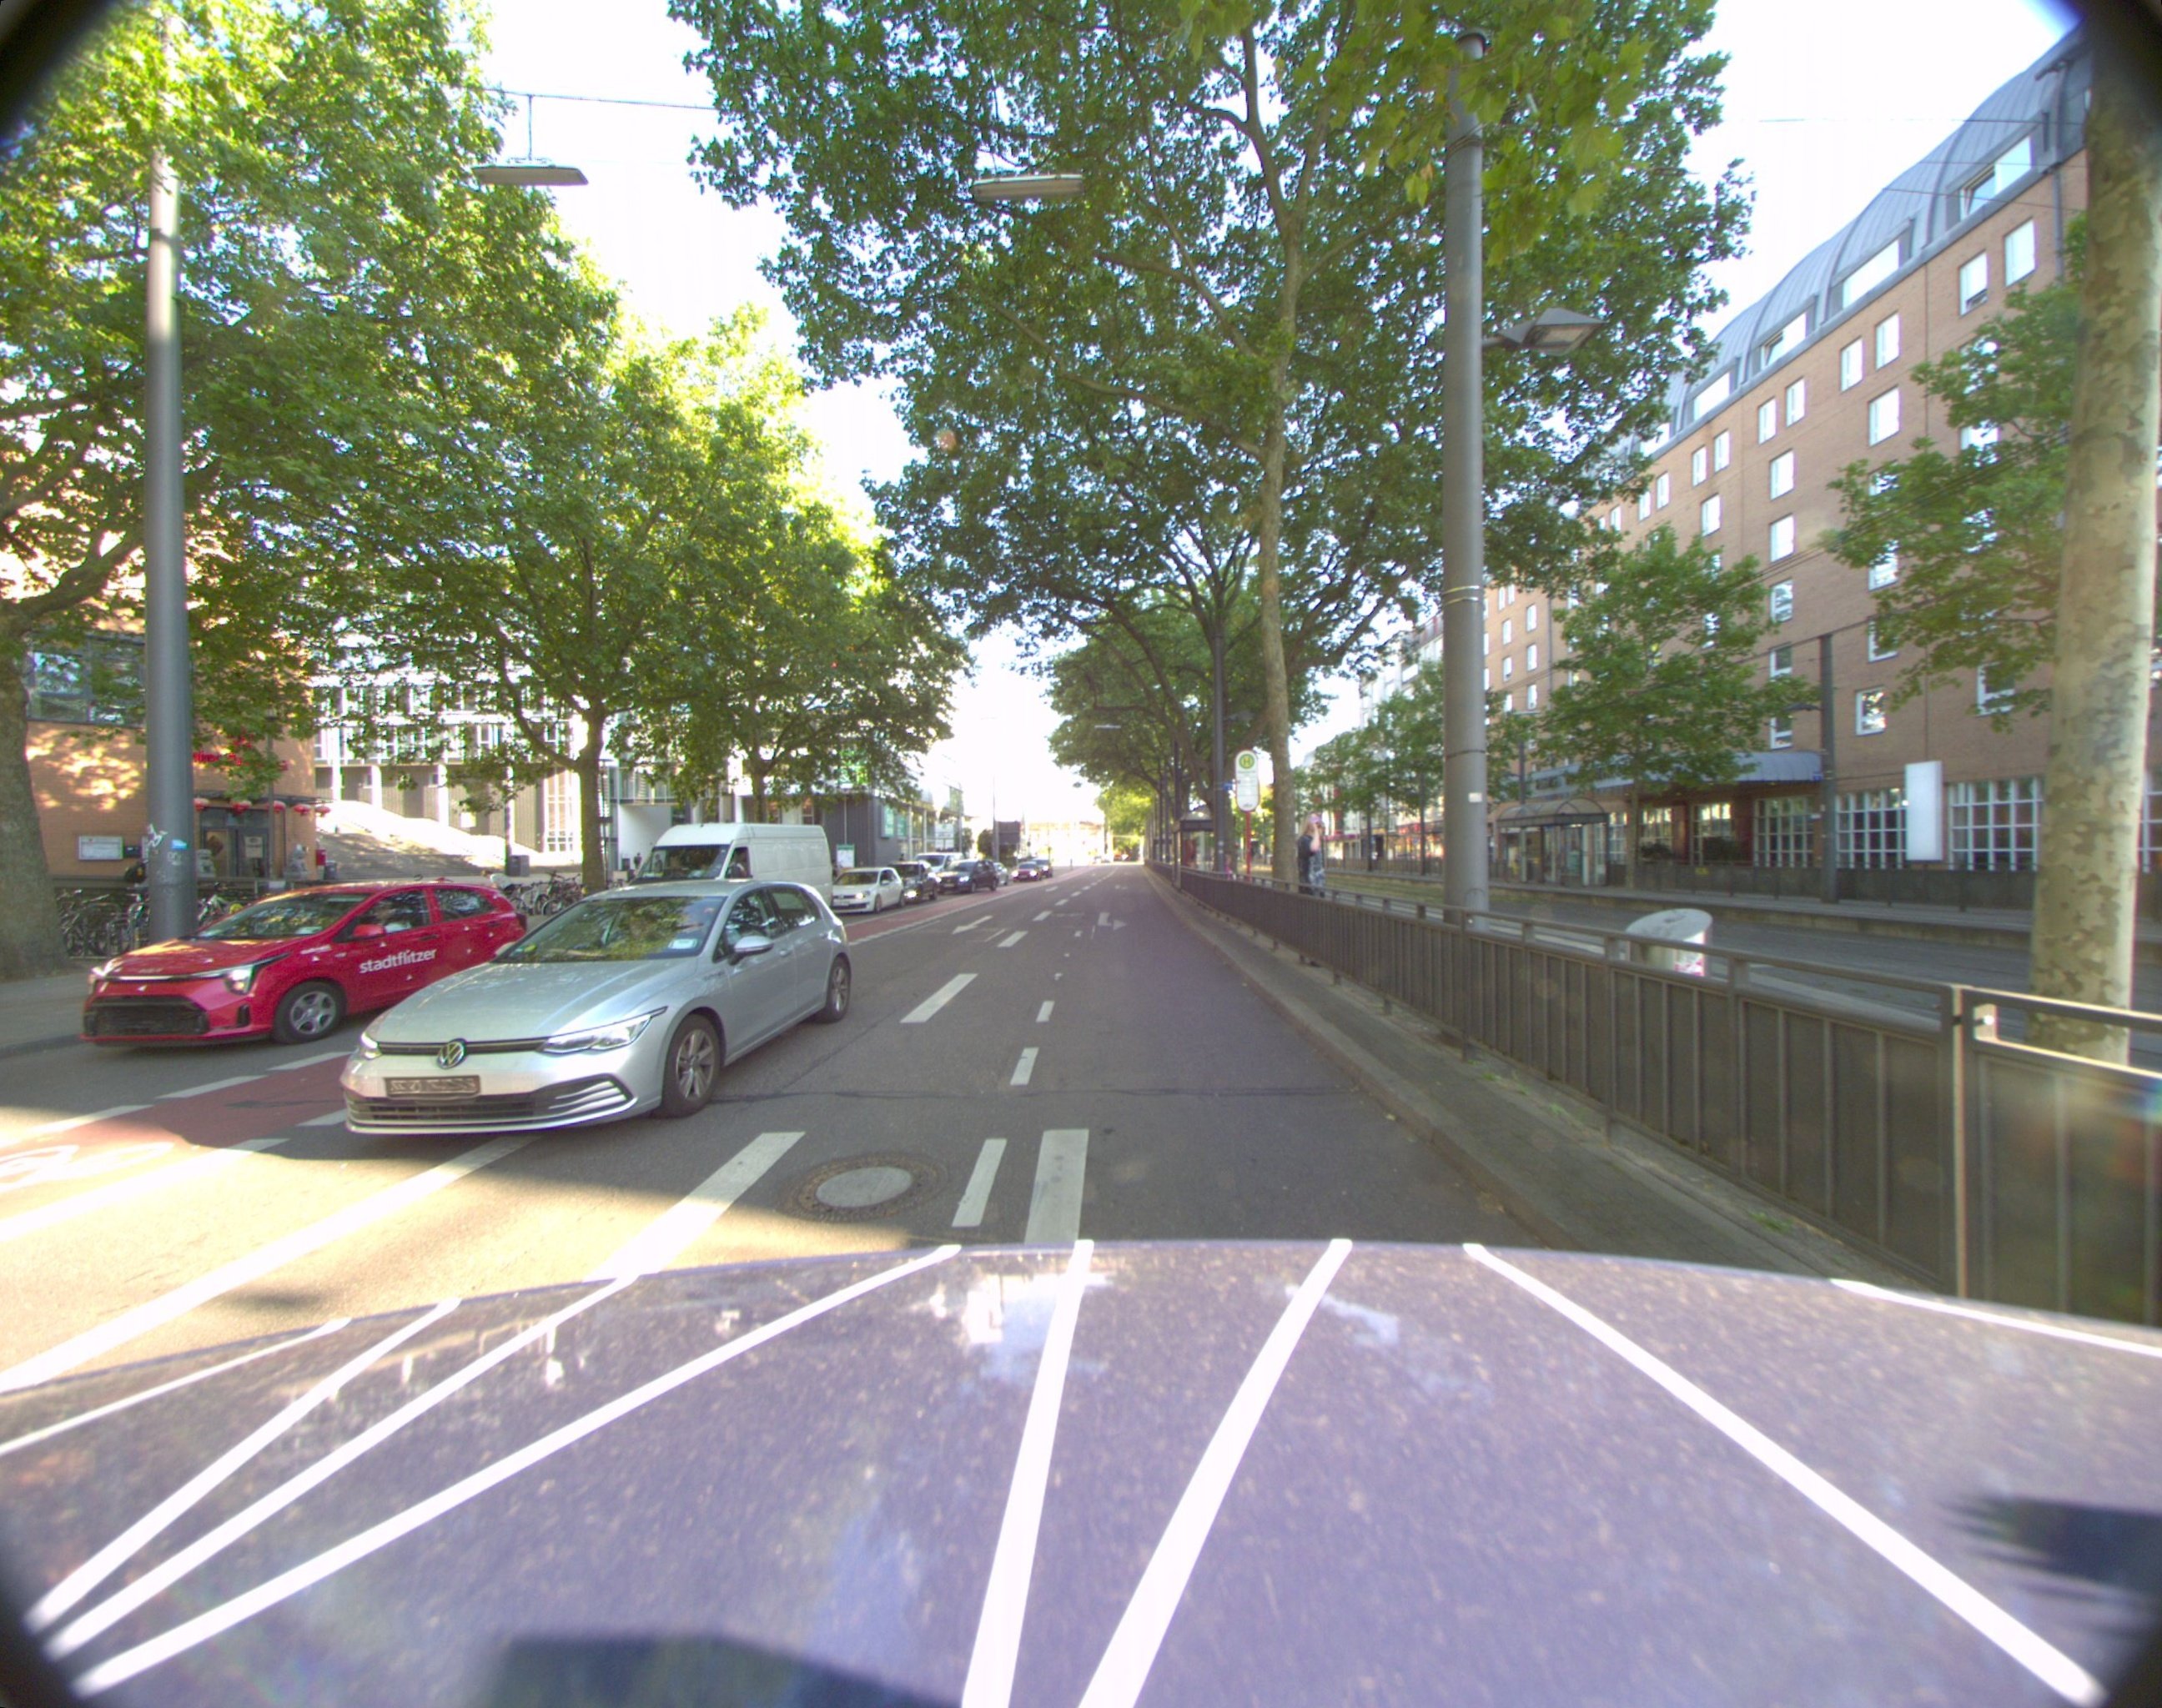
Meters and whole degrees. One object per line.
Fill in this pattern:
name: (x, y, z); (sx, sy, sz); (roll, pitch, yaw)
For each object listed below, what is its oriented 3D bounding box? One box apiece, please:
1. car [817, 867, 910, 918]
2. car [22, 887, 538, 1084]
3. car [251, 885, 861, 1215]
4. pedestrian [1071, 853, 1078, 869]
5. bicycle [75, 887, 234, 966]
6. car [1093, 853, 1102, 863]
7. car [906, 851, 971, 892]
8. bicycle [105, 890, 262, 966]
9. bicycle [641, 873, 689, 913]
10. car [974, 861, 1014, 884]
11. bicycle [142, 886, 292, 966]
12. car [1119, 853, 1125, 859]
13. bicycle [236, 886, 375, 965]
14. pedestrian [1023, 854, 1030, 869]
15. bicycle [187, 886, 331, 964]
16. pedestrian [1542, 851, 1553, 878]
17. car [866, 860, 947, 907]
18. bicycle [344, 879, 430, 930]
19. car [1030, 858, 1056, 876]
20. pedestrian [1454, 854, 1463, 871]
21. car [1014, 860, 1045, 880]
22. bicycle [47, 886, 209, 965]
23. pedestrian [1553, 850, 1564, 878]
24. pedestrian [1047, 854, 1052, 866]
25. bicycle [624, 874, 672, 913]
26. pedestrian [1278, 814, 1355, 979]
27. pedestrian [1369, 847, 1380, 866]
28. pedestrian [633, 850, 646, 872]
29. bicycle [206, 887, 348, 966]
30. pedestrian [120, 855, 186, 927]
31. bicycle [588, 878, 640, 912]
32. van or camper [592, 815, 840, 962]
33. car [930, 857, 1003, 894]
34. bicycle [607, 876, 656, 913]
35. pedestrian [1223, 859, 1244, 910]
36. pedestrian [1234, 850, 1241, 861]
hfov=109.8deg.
car: (-7.008, 1.196, 24.917); (1.682, 1.420, 4.001); (-1, 0, 3)
car: (-7.961, 1.171, 8.137); (1.606, 1.449, 3.651); (-1, 0, 0)
car: (-3.228, 1.077, 5.822); (1.733, 1.432, 4.000); (-2, 0, 2)
pedestrian: (-0.883, 0.914, 97.896); (0.773, 2.002, 0.830); (-2, 1, 1)
bicycle: (-15.927, 1.201, 13.143); (0.458, 1.187, 1.850); (0, 0, 1)
car: (3.555, 0.851, 163.578); (1.998, 2.002, 4.000); (-1, 0, 2)
car: (-7.492, 0.860, 40.405); (1.965, 1.983, 4.960); (-1, 0, 7)
bicycle: (-15.428, 1.234, 13.141); (0.485, 1.118, 1.850); (0, 0, 1)
bicycle: (-13.575, 1.254, 24.848); (0.522, 1.187, 1.850); (0, 0, 1)
car: (-5.494, 1.163, 48.387); (1.801, 1.369, 4.001); (0, 0, 3)
bicycle: (-14.845, 1.197, 13.132); (0.447, 1.187, 1.850); (0, 0, 1)
car: (13.490, 0.693, 247.919); (1.998, 2.002, 4.001); (-1, 0, 4)
bicycle: (-13.321, 1.192, 13.136); (0.482, 1.187, 1.850); (0, 0, 1)
pedestrian: (-5.821, 0.779, 81.615); (0.648, 1.644, 0.643); (-1, 1, 1)
bicycle: (-14.329, 1.198, 13.332); (0.484, 1.187, 1.850); (0, 0, 1)
pedestrian: (26.042, 0.580, 42.446); (0.438, 1.497, 0.659); (0, 1, 23)
car: (-6.682, 1.081, 29.643); (1.818, 1.610, 4.229); (-1, 0, 5)
bicycle: (-17.840, 1.284, 19.587); (0.517, 1.187, 1.790); (0, 0, 1)
car: (-3.176, 1.049, 64.570); (1.801, 1.438, 4.001); (0, 0, 3)
pedestrian: (31.390, 0.681, 63.123); (0.519, 1.427, 0.516); (0, 1, 4)
car: (-3.780, 1.127, 56.243); (1.801, 1.369, 4.001); (0, 0, 3)
bicycle: (-16.390, 1.196, 13.146); (0.435, 1.187, 1.850); (0, 0, 1)
pedestrian: (26.542, 0.543, 42.252); (0.438, 1.511, 0.659); (0, 1, 23)
pedestrian: (-4.507, 0.893, 109.352); (0.611, 1.644, 0.583); (-1, 1, 1)
bicycle: (-14.118, 1.261, 24.828); (0.495, 1.187, 1.850); (0, 0, 1)
pedestrian: (2.787, 0.474, 9.019); (0.607, 1.873, 0.622); (-2, 3, -19)
pedestrian: (31.149, 0.271, 80.672); (0.806, 2.002, 0.763); (-1, 1, 1)
pedestrian: (-32.025, 0.504, 55.141); (0.719, 1.549, 0.639); (-1, 1, -35)
bicycle: (-13.823, 1.202, 13.142); (0.448, 1.187, 1.850); (0, 0, 1)
pedestrian: (-23.296, 0.906, 19.076); (0.601, 1.773, 0.889); (0, 1, 23)
bicycle: (-15.223, 1.320, 24.801); (0.516, 1.027, 1.850); (0, 0, 1)
van or camper: (-7.547, 0.608, 16.829); (1.998, 2.563, 6.575); (-2, 0, 3)
car: (-5.492, 1.012, 37.071); (1.964, 1.610, 4.335); (-1, 0, 14)
bicycle: (-14.662, 1.295, 24.826); (0.522, 1.088, 1.797); (0, 0, 1)
pedestrian: (3.929, 0.776, 19.631); (0.500, 1.308, 0.419); (0, 1, 8)
pedestrian: (27.933, 0.240, 135.606); (1.015, 2.002, 1.047); (0, 1, 4)
